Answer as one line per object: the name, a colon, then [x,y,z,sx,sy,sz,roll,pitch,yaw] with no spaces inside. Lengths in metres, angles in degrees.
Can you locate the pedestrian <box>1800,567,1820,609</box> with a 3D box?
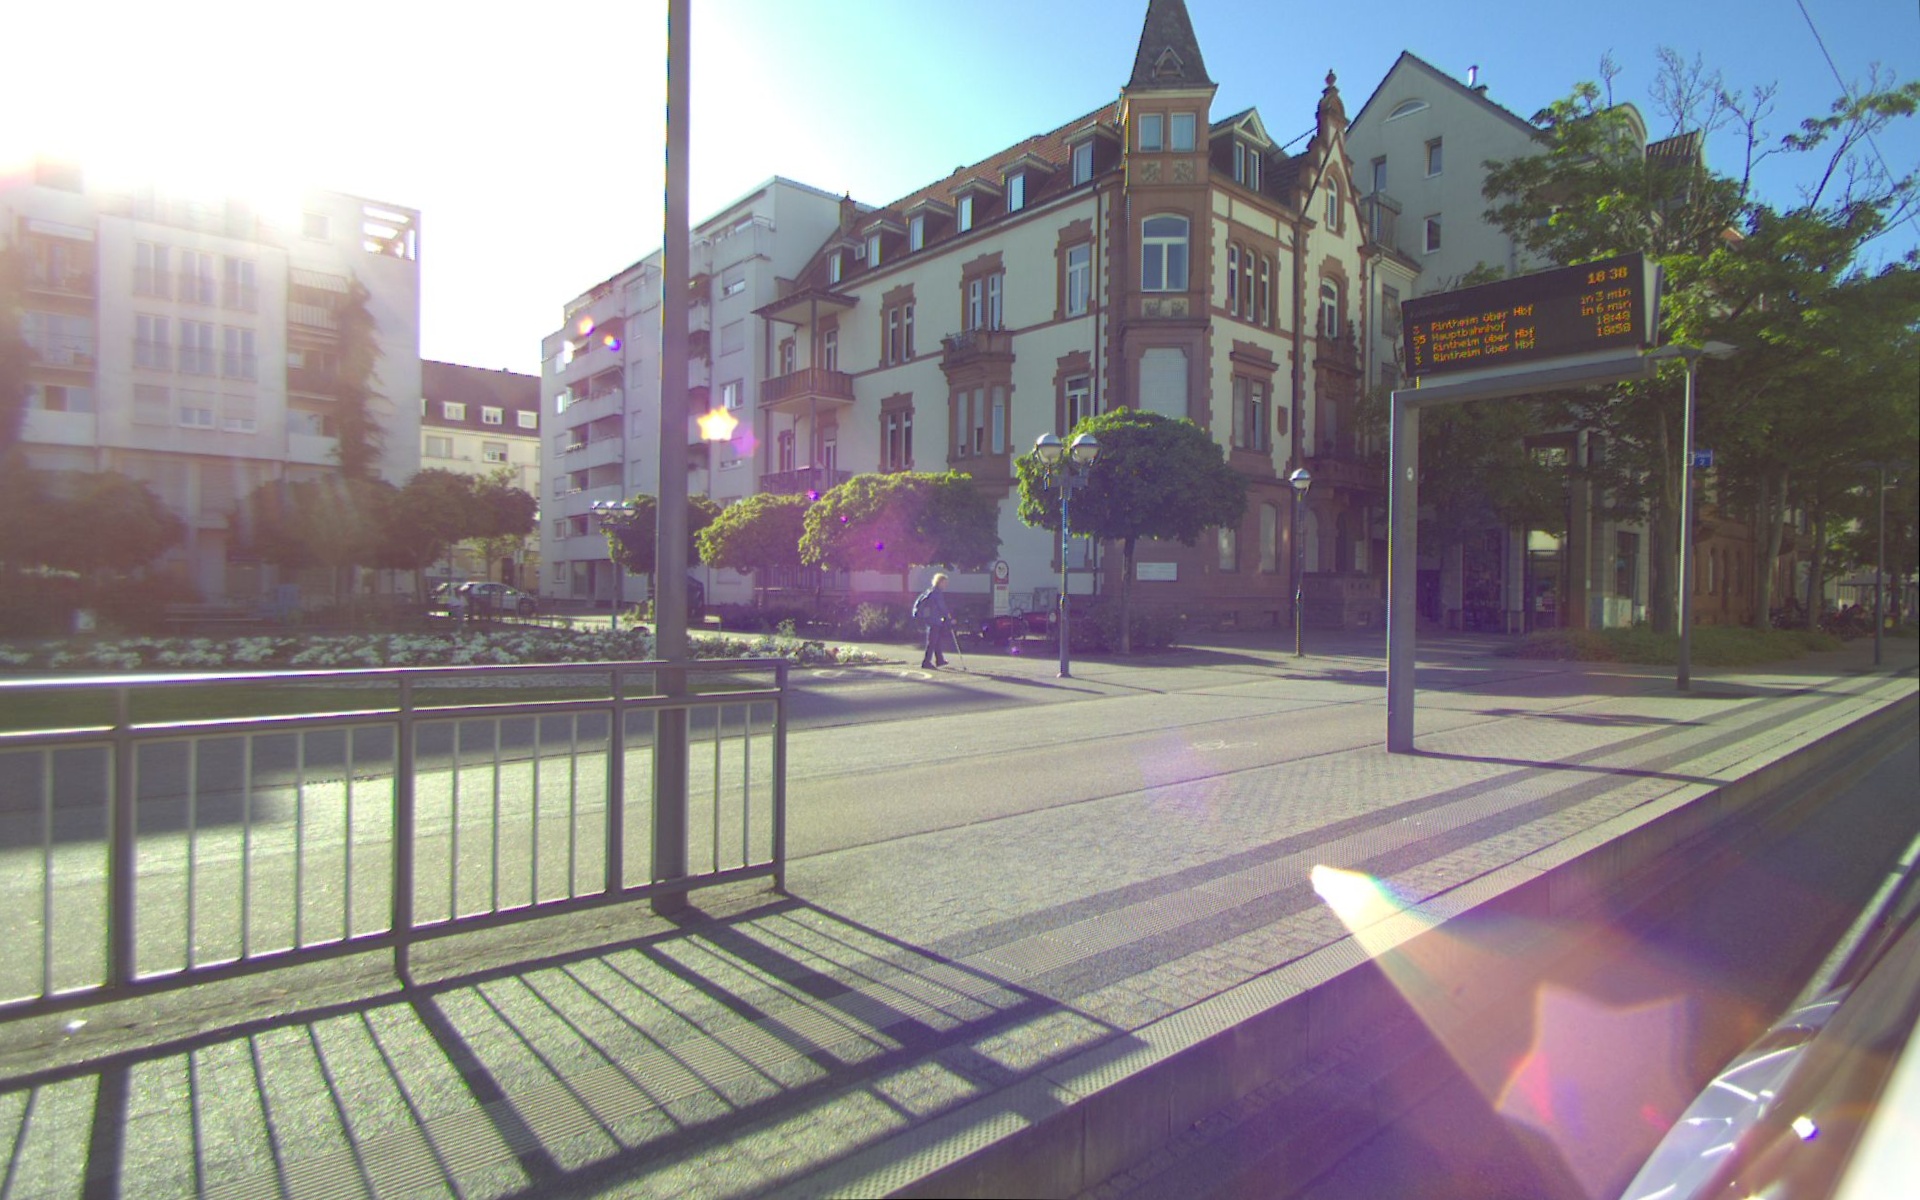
pedestrian: [41.844,-0.599,49.835,0.549,2.039,0.654,0,0,-38]

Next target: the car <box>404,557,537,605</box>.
car: [-27.845,-1.040,57.722,6.291,2.587,2.808,0,1,-44]

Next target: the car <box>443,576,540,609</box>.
car: [-22.217,-0.355,48.023,3.923,1.536,2.001,0,1,-34]

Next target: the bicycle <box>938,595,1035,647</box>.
bicycle: [0.668,0.459,24.101,0.786,1.081,2.767,1,2,40]

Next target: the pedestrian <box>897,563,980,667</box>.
pedestrian: [-0.365,0.230,17.212,1.064,1.689,0.944,1,0,37]

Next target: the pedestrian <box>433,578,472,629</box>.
pedestrian: [-14.743,0.086,29.370,0.917,1.429,1.529,0,1,-30]

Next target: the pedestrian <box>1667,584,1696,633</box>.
pedestrian: [26.551,0.301,37.247,0.740,1.757,0.864,1,0,43]

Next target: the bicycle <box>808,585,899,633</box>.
bicycle: [-3.219,0.255,30.922,2.864,1.389,0.745,0,1,-41]

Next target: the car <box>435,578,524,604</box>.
car: [-24.850,-0.474,52.344,3.923,1.304,2.001,0,1,-34]
